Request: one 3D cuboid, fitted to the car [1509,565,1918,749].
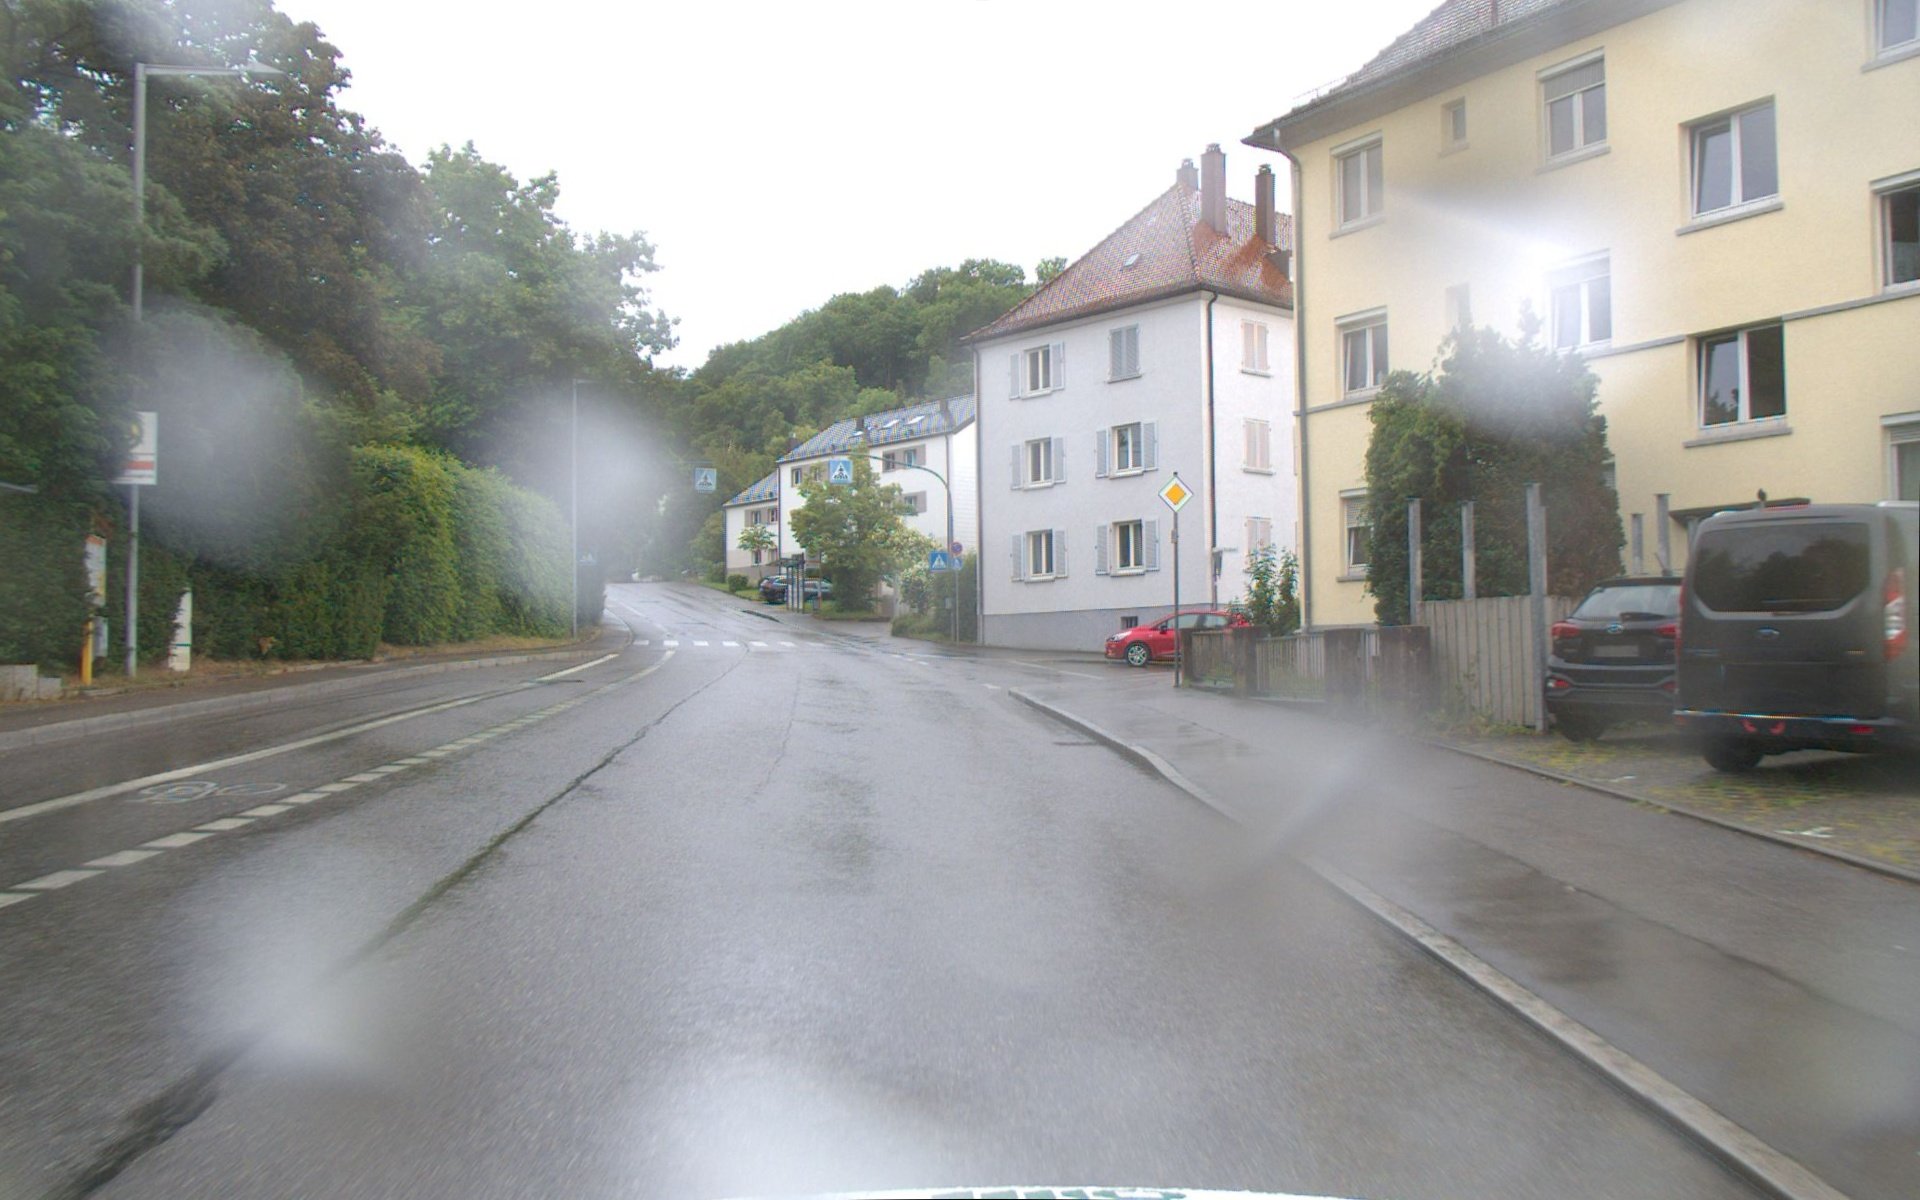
[{"bbox_3d":[6.645,0.453,14.510,3.484,1.362,1.668,-2,-1,-34],"label":"car"}]

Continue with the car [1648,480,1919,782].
[{"bbox_3d":[6.885,0.158,11.745,3.886,1.813,1.751,-2,-1,-33],"label":"car"}]

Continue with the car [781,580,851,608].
[{"bbox_3d":[-8.127,-0.345,93.525,3.685,1.483,1.716,-1,3,-18],"label":"car"}]

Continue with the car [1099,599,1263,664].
[{"bbox_3d":[5.574,0.777,41.966,3.994,1.432,1.725,2,0,6],"label":"car"}]
